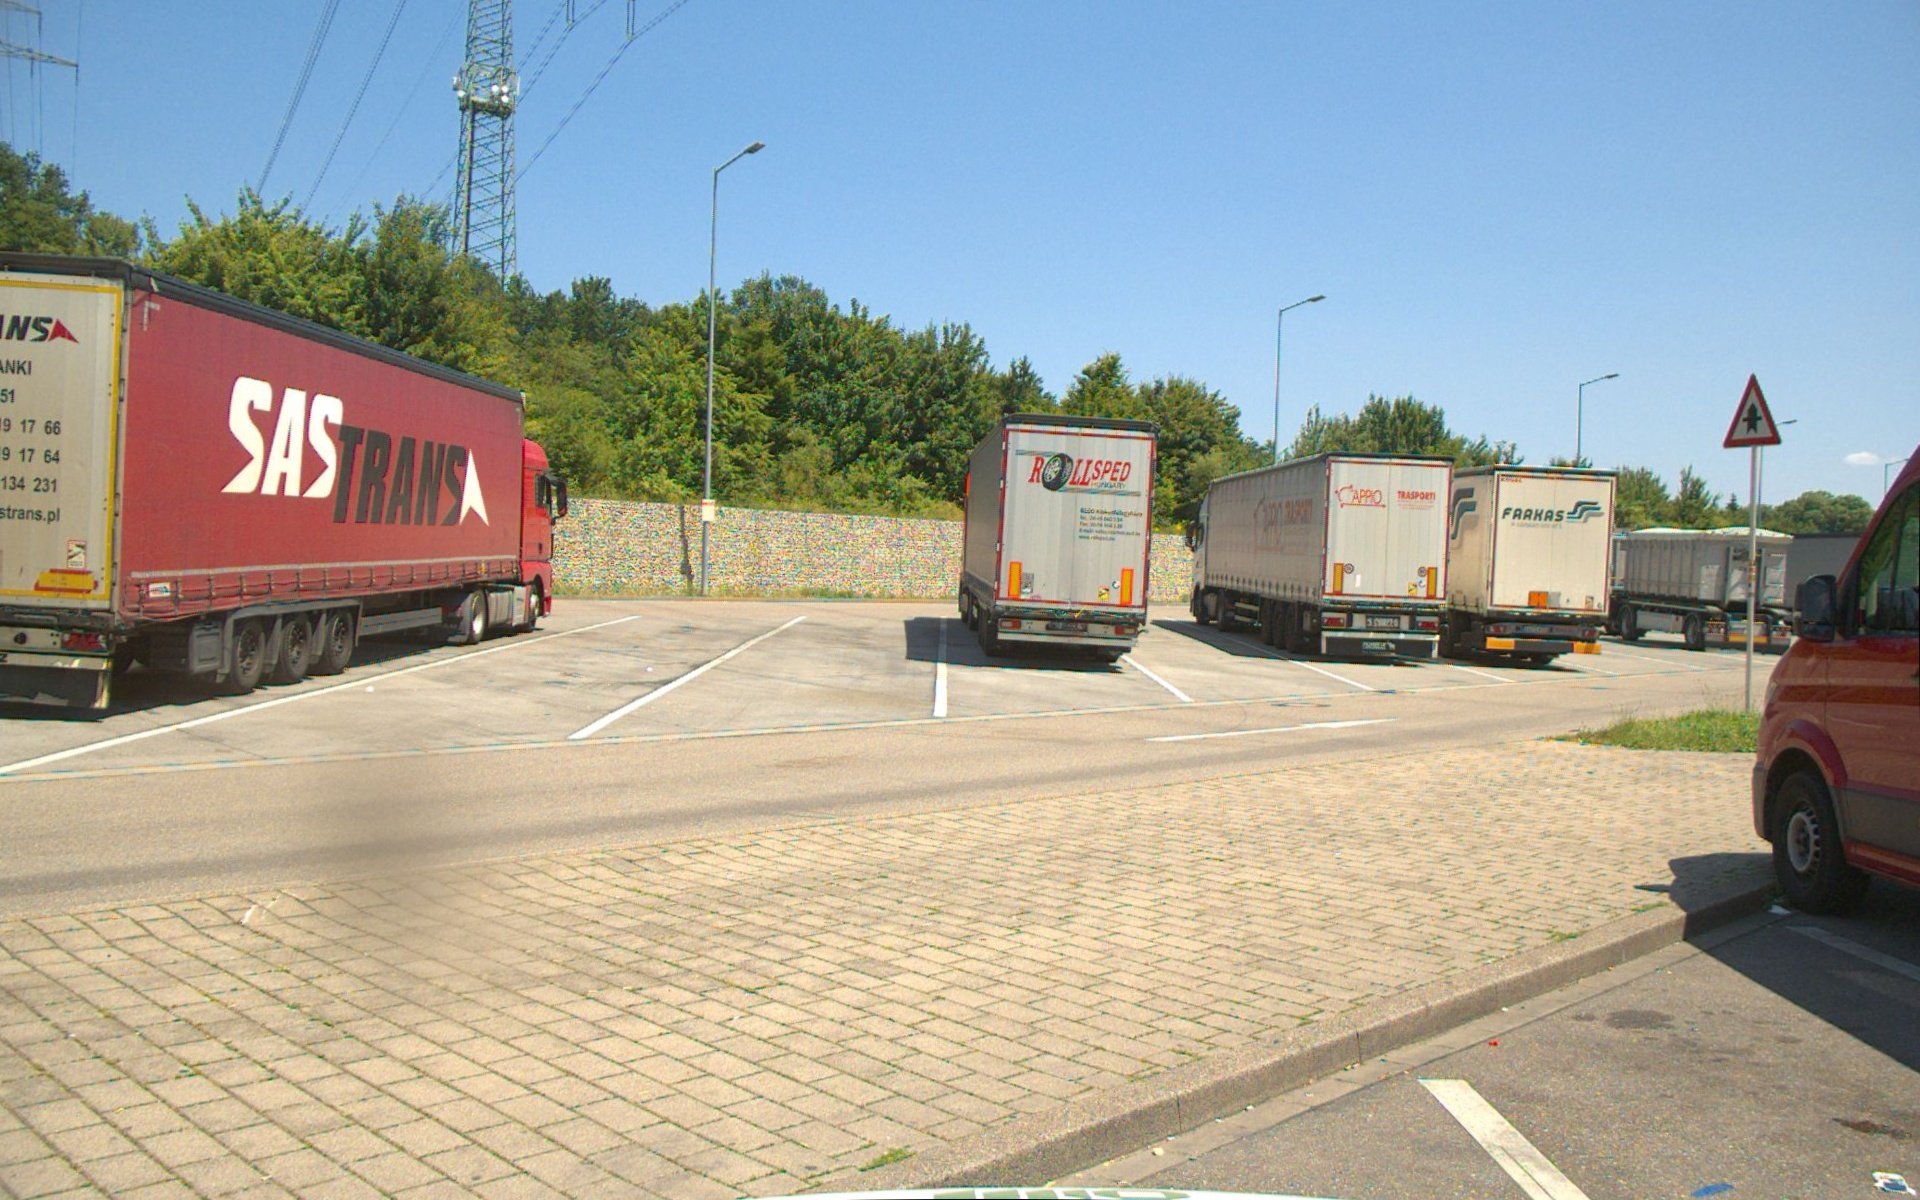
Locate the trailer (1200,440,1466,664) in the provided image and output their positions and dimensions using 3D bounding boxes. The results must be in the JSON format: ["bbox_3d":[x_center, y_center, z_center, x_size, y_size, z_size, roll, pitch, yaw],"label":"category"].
[{"bbox_3d":[8.206,-1.136,38.824,2.781,4.204,13.722,2,2,-1],"label":"trailer"}]

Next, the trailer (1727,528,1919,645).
[{"bbox_3d":[34.930,-0.644,65.412,2.780,4.119,13.726,2,2,1],"label":"trailer"}]

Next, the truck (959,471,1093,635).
[{"bbox_3d":[1.477,-1.140,39.843,2.794,3.544,5.482,2,2,-1],"label":"truck"}]

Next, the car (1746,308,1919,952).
[{"bbox_3d":[5.012,0.163,5.555,2.023,2.742,6.397,1,1,4],"label":"car"}]

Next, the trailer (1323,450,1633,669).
[{"bbox_3d":[11.765,-1.016,39.629,2.781,4.204,13.722,2,2,-1],"label":"trailer"}]

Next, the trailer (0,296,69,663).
[{"bbox_3d":[-12.525,-1.306,15.695,2.673,4.282,10.170,2,2,-1],"label":"trailer"}]

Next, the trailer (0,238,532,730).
[{"bbox_3d":[-8.681,-1.294,21.179,2.848,4.203,13.723,2,2,-1],"label":"trailer"}]

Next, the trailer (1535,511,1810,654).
[{"bbox_3d":[21.920,-0.684,52.206,2.780,3.781,13.726,2,2,1],"label":"trailer"}]

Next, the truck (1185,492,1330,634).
[{"bbox_3d":[8.090,-1.035,45.633,2.794,3.544,5.482,2,2,-1],"label":"truck"}]

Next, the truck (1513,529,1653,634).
[{"bbox_3d":[22.000,-0.713,58.710,2.794,3.423,5.484,3,2,0],"label":"truck"}]

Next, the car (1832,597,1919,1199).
[{"bbox_3d":[2.601,0.797,1.150,1.703,1.508,3.813,1,1,-6],"label":"car"}]

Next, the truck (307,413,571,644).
[{"bbox_3d":[-8.796,-1.203,28.614,2.794,3.487,5.482,2,2,-1],"label":"truck"}]

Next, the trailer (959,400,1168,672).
[{"bbox_3d":[1.646,-1.228,33.234,2.848,4.204,13.720,2,2,-2],"label":"trailer"}]
